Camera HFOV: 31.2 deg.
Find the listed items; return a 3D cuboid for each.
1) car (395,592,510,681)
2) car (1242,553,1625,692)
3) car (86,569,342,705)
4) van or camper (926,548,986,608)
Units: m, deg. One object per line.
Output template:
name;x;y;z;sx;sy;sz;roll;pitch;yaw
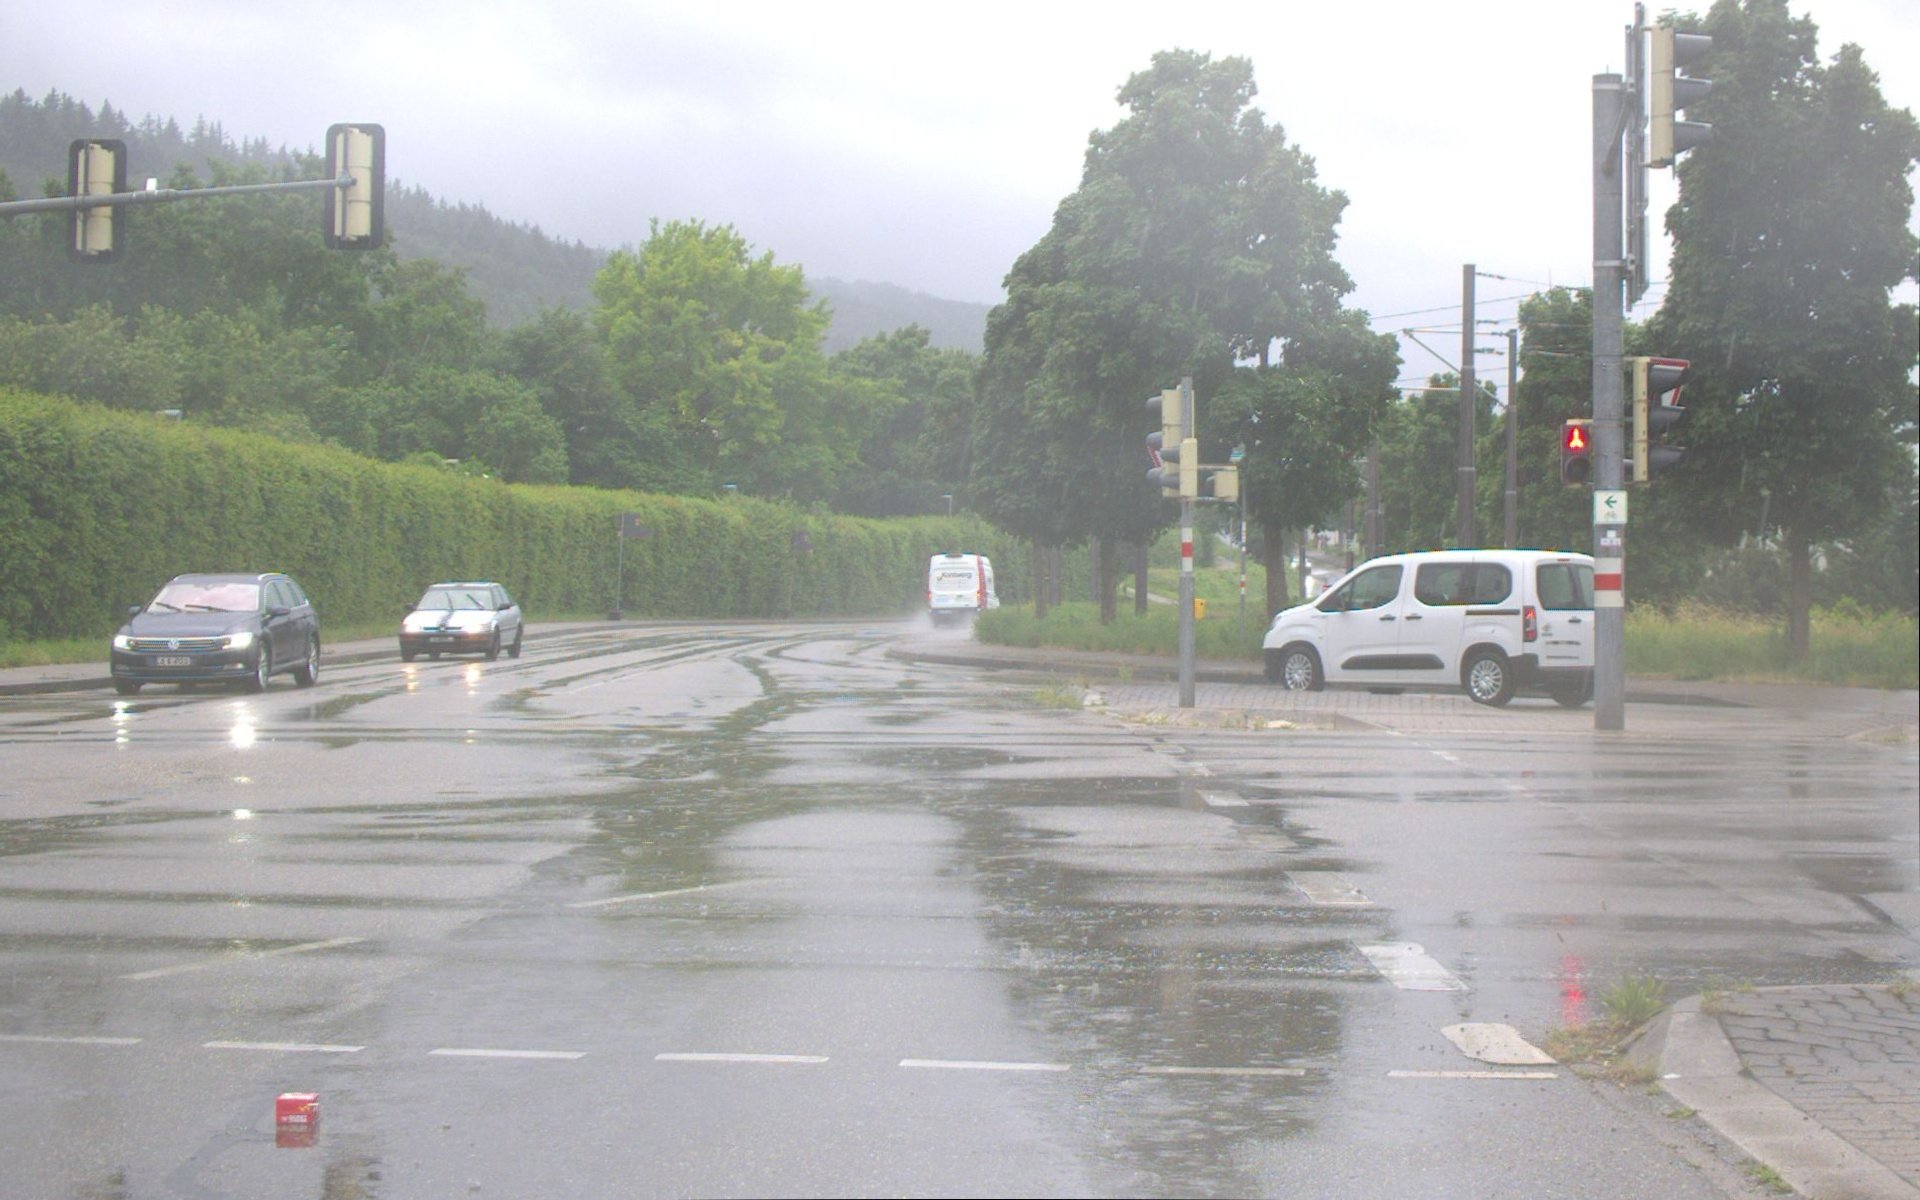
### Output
car;-9.019;0.630;61.321;1.558;1.476;3.361;1;1;0
car;5.566;0.219;40.812;1.817;1.548;4.346;-1;1;-43
car;-9.388;0.428;43.639;1.879;1.568;4.644;-2;1;5
van or camper;-0.162;-0.835;127.849;2.153;2.162;4.865;1;1;0
